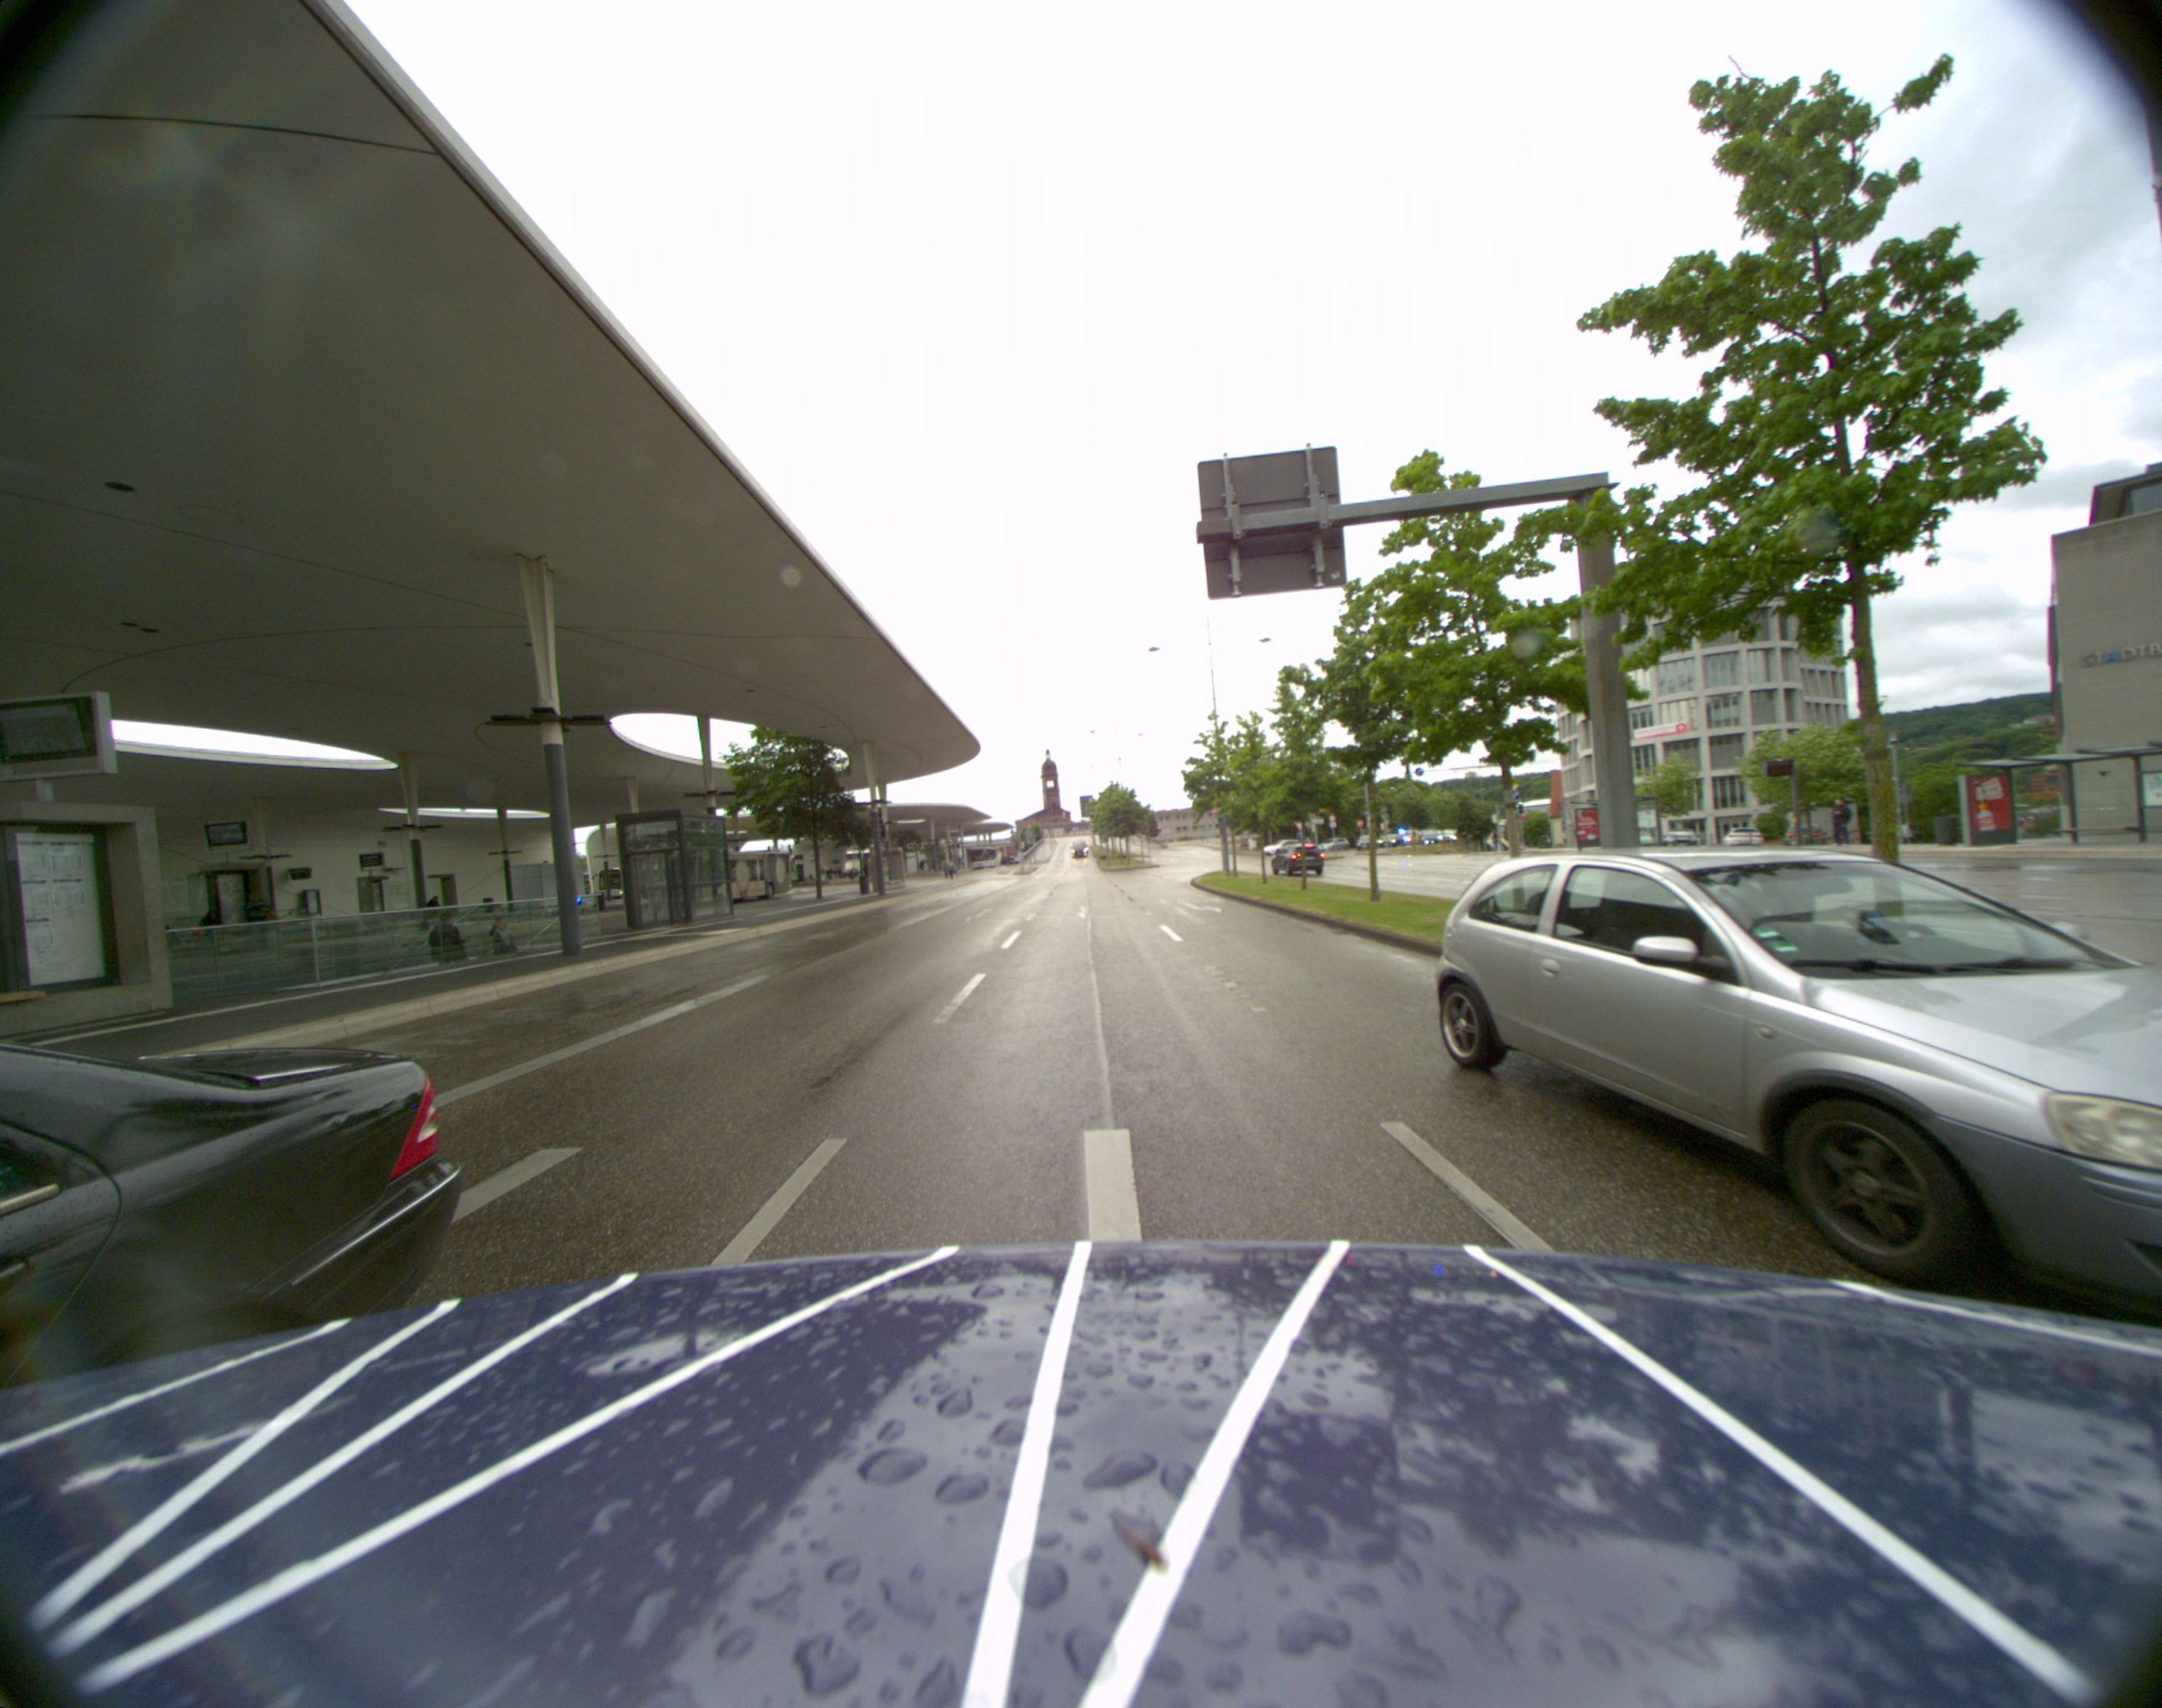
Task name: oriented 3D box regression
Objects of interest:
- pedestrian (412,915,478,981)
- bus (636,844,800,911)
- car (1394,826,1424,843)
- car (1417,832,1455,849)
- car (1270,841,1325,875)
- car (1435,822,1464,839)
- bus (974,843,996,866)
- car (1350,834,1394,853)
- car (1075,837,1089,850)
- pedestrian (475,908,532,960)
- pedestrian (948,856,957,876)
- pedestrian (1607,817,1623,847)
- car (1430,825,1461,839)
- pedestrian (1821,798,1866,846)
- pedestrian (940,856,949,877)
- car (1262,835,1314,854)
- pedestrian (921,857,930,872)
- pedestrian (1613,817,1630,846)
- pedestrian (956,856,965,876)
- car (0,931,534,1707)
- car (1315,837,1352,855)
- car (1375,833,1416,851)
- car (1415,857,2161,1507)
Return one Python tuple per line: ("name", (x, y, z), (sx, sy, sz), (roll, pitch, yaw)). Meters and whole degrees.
("pedestrian", (-12.947, 1.903, 15.488), (0.693, 1.244, 0.669), (-3, 1, 1))
("bus", (-19.724, 1.086, 42.673), (3.003, 3.088, 12.354), (-3, 0, 1))
("car", (40.490, -2.427, 93.675), (2.304, 2.002, 5.043), (-2, 1, 35))
("car", (39.971, -1.498, 85.493), (4.925, 1.702, 2.190), (-3, 1, -43))
("car", (11.589, 0.189, 40.967), (1.826, 1.630, 4.600), (-3, 0, 3))
("car", (45.675, -2.948, 94.174), (1.995, 2.002, 4.007), (-2, 1, 44))
("bus", (-14.292, 0.057, 113.275), (2.675, 3.111, 9.712), (-3, 0, -5))
("car", (29.577, -1.114, 77.229), (4.925, 1.702, 2.190), (-3, 1, -43))
("car", (0.086, -1.380, 101.413), (1.704, 1.656, 3.998), (-3, 1, -2))
("pedestrian", (-11.791, 1.620, 15.525), (0.622, 0.957, 0.638), (-3, 1, 1))
("pedestrian", (-10.505, 0.998, 62.301), (0.557, 1.614, 0.552), (-3, 1, 1))
("pedestrian", (29.509, -1.216, 42.018), (0.504, 1.625, 0.502), (-2, 1, 1))
("car", (49.323, -2.956, 102.829), (4.925, 1.702, 2.190), (-3, 1, -45))
("pedestrian", (29.129, -1.219, 29.026), (0.787, 1.750, 0.972), (-3, 1, -28))
("pedestrian", (-11.172, 1.014, 62.296), (0.576, 1.614, 0.588), (-3, 1, 1))
("car", (21.812, -0.984, 80.133), (4.921, 1.702, 2.192), (-3, 1, -21))
("pedestrian", (-17.956, 1.191, 87.670), (0.723, 1.621, 0.753), (-3, 1, 0))
("pedestrian", (30.058, -1.243, 42.251), (0.520, 1.625, 0.536), (-2, 1, 1))
("pedestrian", (-9.904, 0.973, 62.248), (0.557, 1.614, 0.552), (-3, 1, 1))
("car", (-2.846, 1.176, 0.356), (1.750, 1.472, 4.433), (-8, 2, 1))
("car", (27.412, -0.847, 82.510), (4.007, 1.783, 1.995), (-3, 1, -41))
("car", (34.298, -1.312, 82.876), (4.925, 1.702, 2.190), (-3, 1, -43))
("car", (3.285, 0.795, 3.528), (1.628, 1.450, 3.734), (-3, 0, -3))
